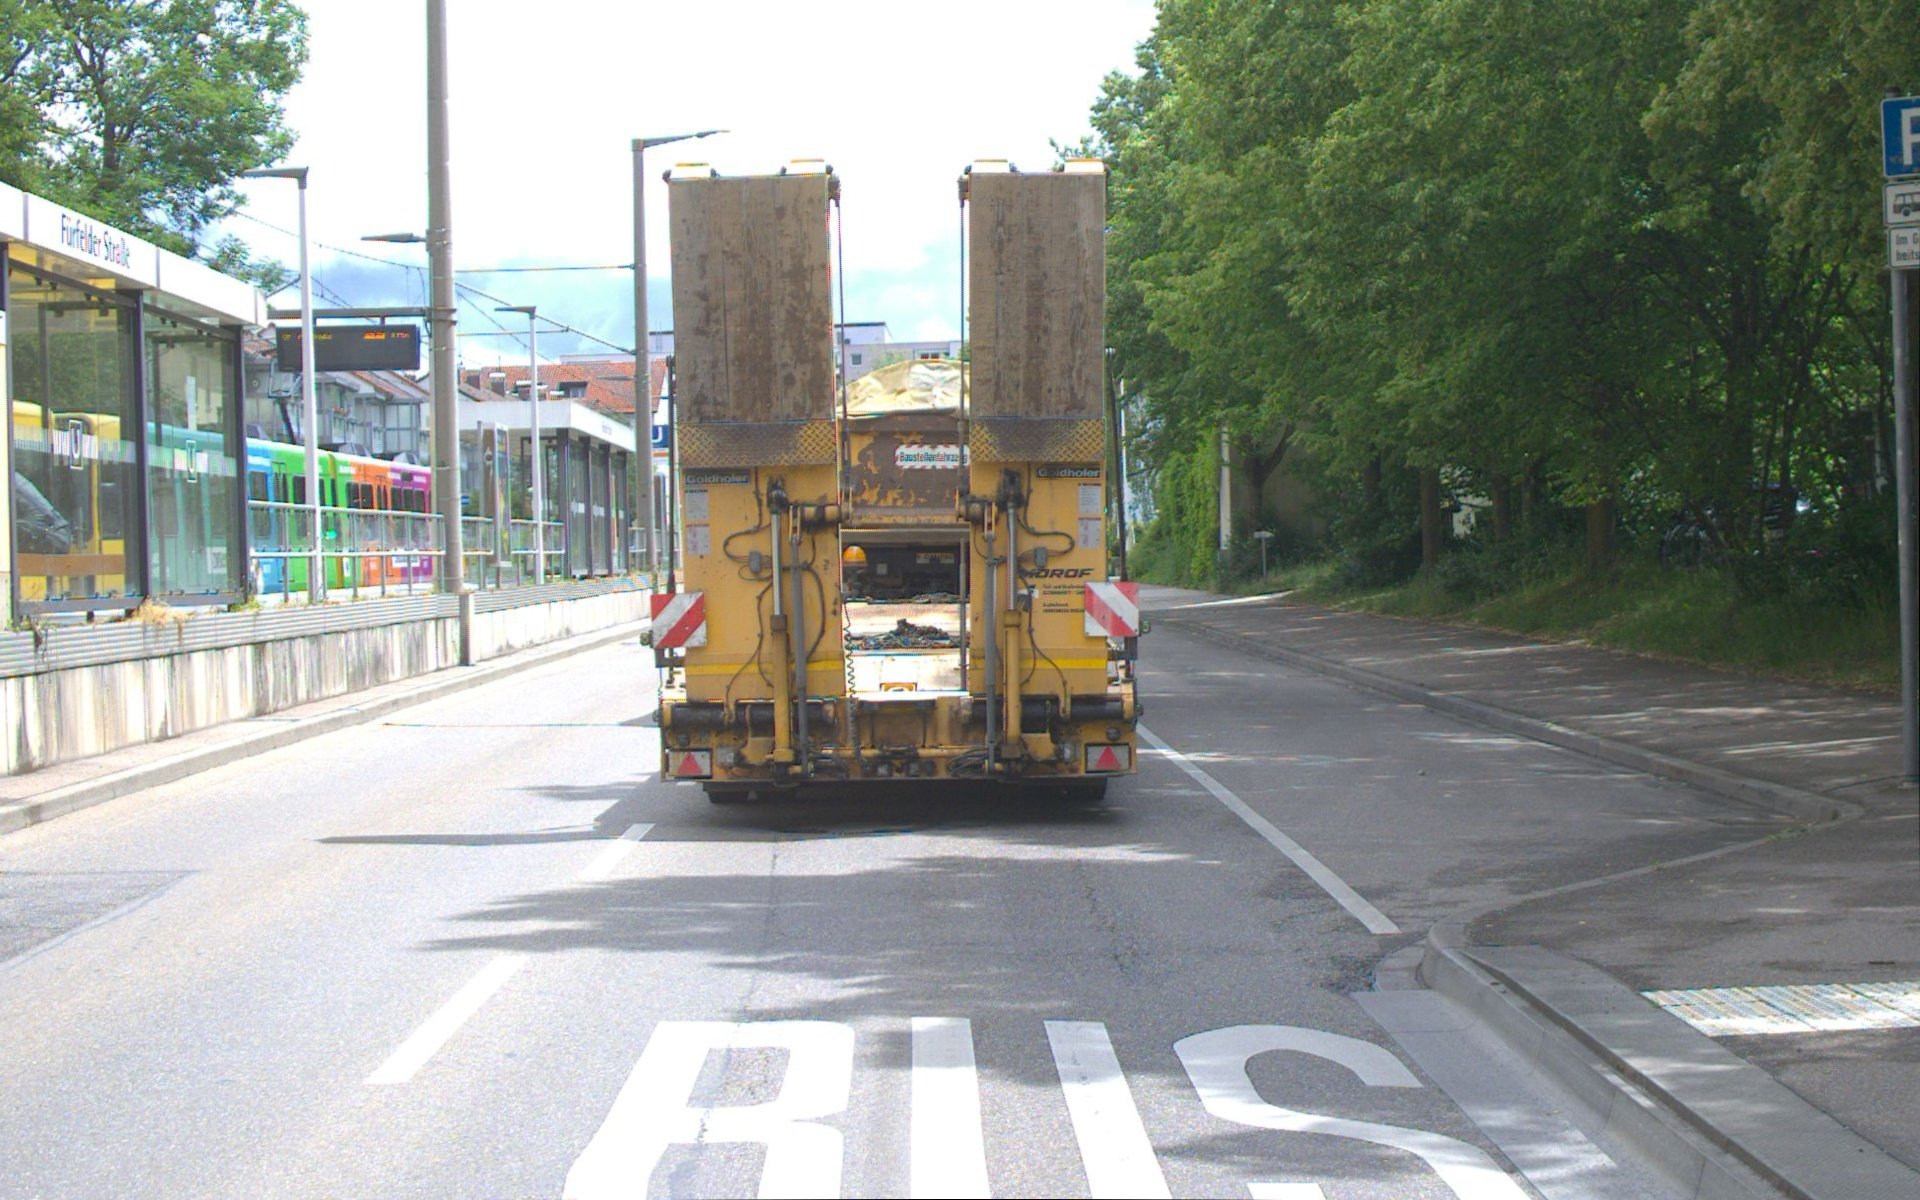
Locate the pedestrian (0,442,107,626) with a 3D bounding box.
[{"bbox_3d":[-6.219,-0.433,22.910,0.795,1.182,0.920,-3,1,-2],"label":"pedestrian"}]

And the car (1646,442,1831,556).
[{"bbox_3d":[11.501,-1.473,51.038,1.715,1.502,4.160,-4,1,0],"label":"car"}]

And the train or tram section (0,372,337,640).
[{"bbox_3d":[-12.953,-1.404,54.023,3.108,3.453,19.200,0,1,-1],"label":"train or tram section"}]

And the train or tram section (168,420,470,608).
[{"bbox_3d":[-13.233,-1.778,73.196,3.108,3.453,19.091,0,1,-1],"label":"train or tram section"}]

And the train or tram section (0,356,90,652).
[{"bbox_3d":[-12.689,-1.032,34.985,3.108,3.453,18.998,0,1,-1],"label":"train or tram section"}]

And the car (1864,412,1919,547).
[{"bbox_3d":[11.291,-1.354,37.281,1.797,1.459,3.990,-3,1,-1],"label":"car"}]

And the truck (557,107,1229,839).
[{"bbox_3d":[-0.702,-0.797,24.646,3.402,3.719,13.741,-1,1,-3],"label":"truck"}]
